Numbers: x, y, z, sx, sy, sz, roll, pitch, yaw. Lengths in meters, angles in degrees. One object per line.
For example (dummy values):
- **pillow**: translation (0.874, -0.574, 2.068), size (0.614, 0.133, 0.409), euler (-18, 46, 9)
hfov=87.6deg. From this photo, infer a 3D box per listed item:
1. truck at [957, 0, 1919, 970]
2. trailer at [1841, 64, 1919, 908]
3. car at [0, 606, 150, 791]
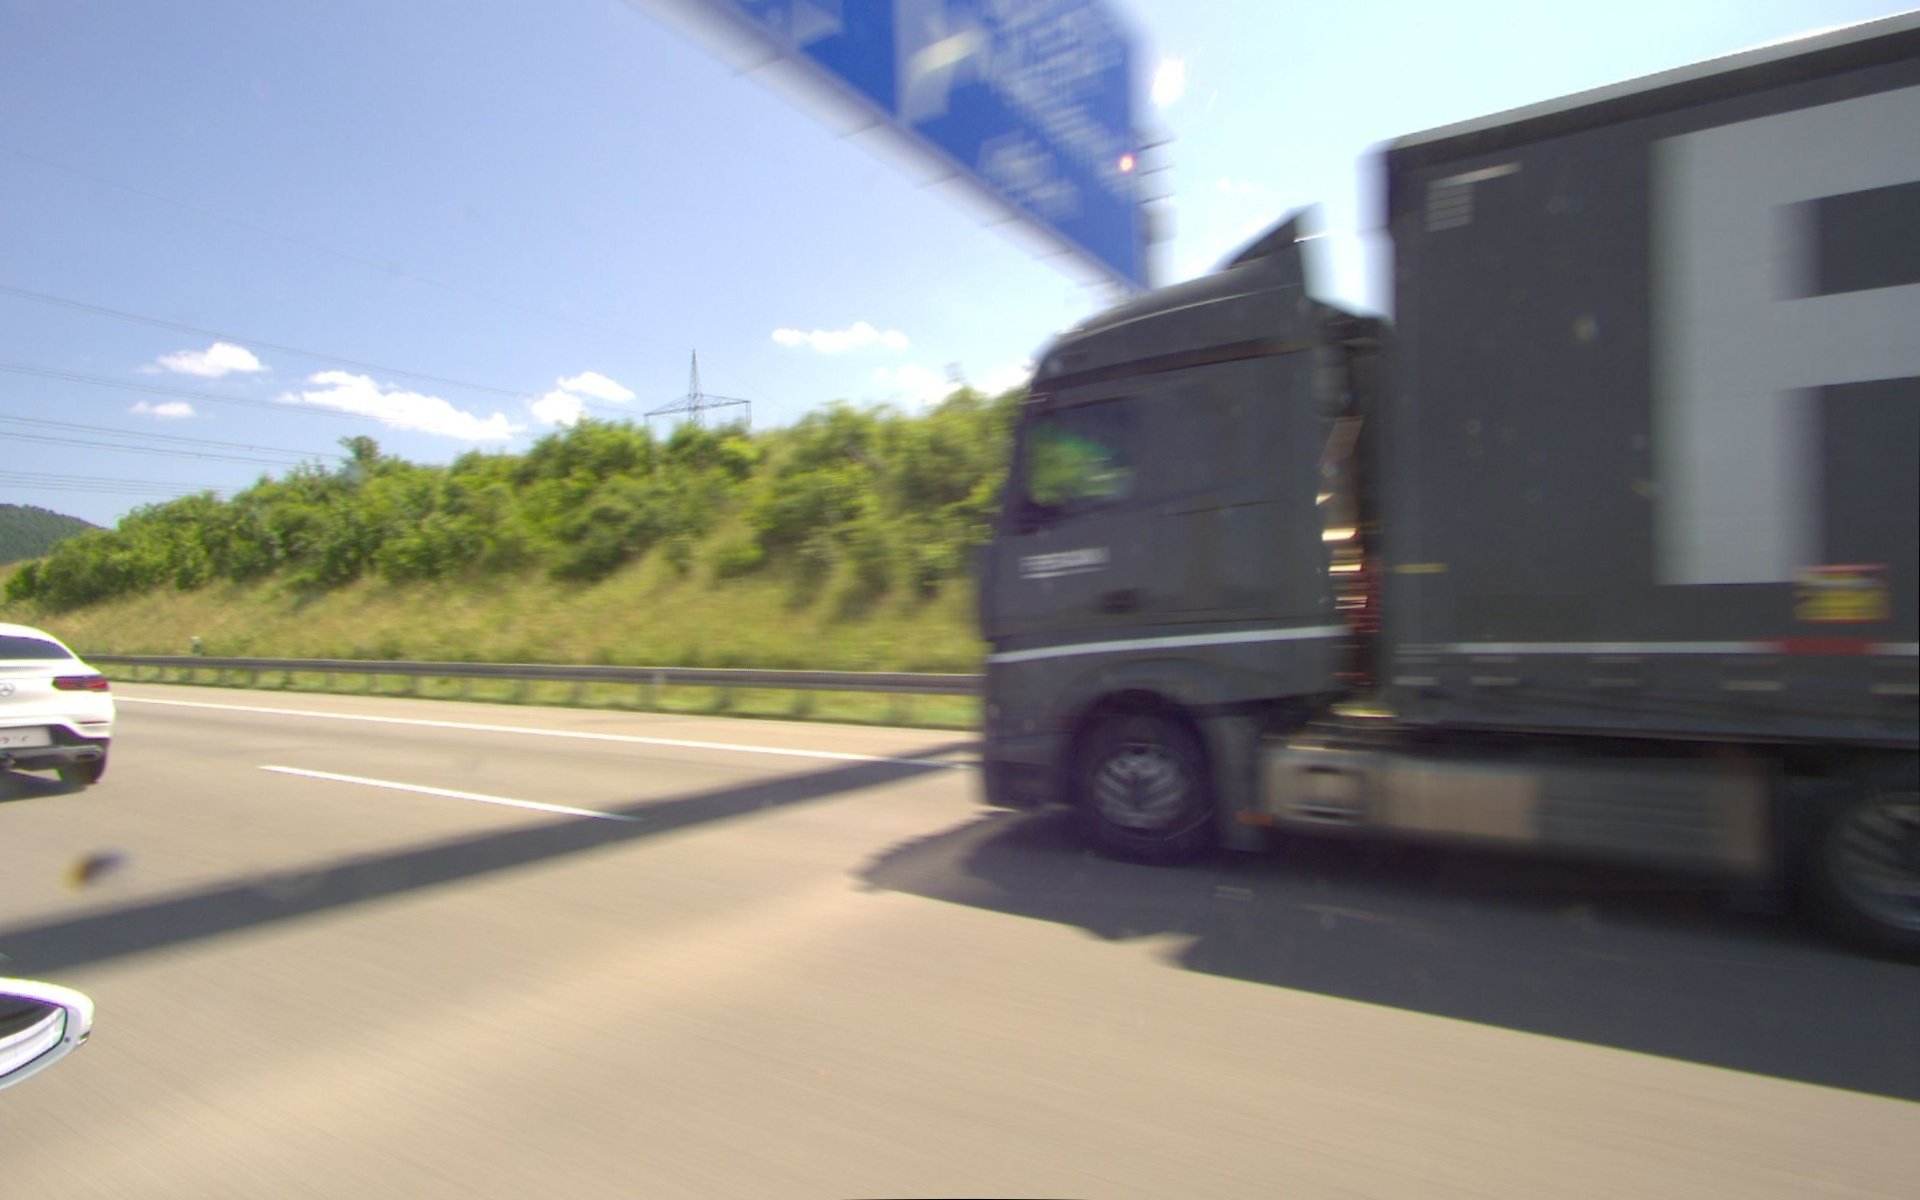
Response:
- **truck**: translation (3.527, -0.430, 6.085), size (6.693, 4.071, 2.747), euler (-2, -2, 33)
- **trailer**: translation (9.823, -0.675, 2.050), size (11.641, 4.207, 2.721), euler (-2, -2, 32)
- **car**: translation (-10.424, 0.923, 10.118), size (5.156, 1.600, 1.911), euler (-2, -2, 32)
